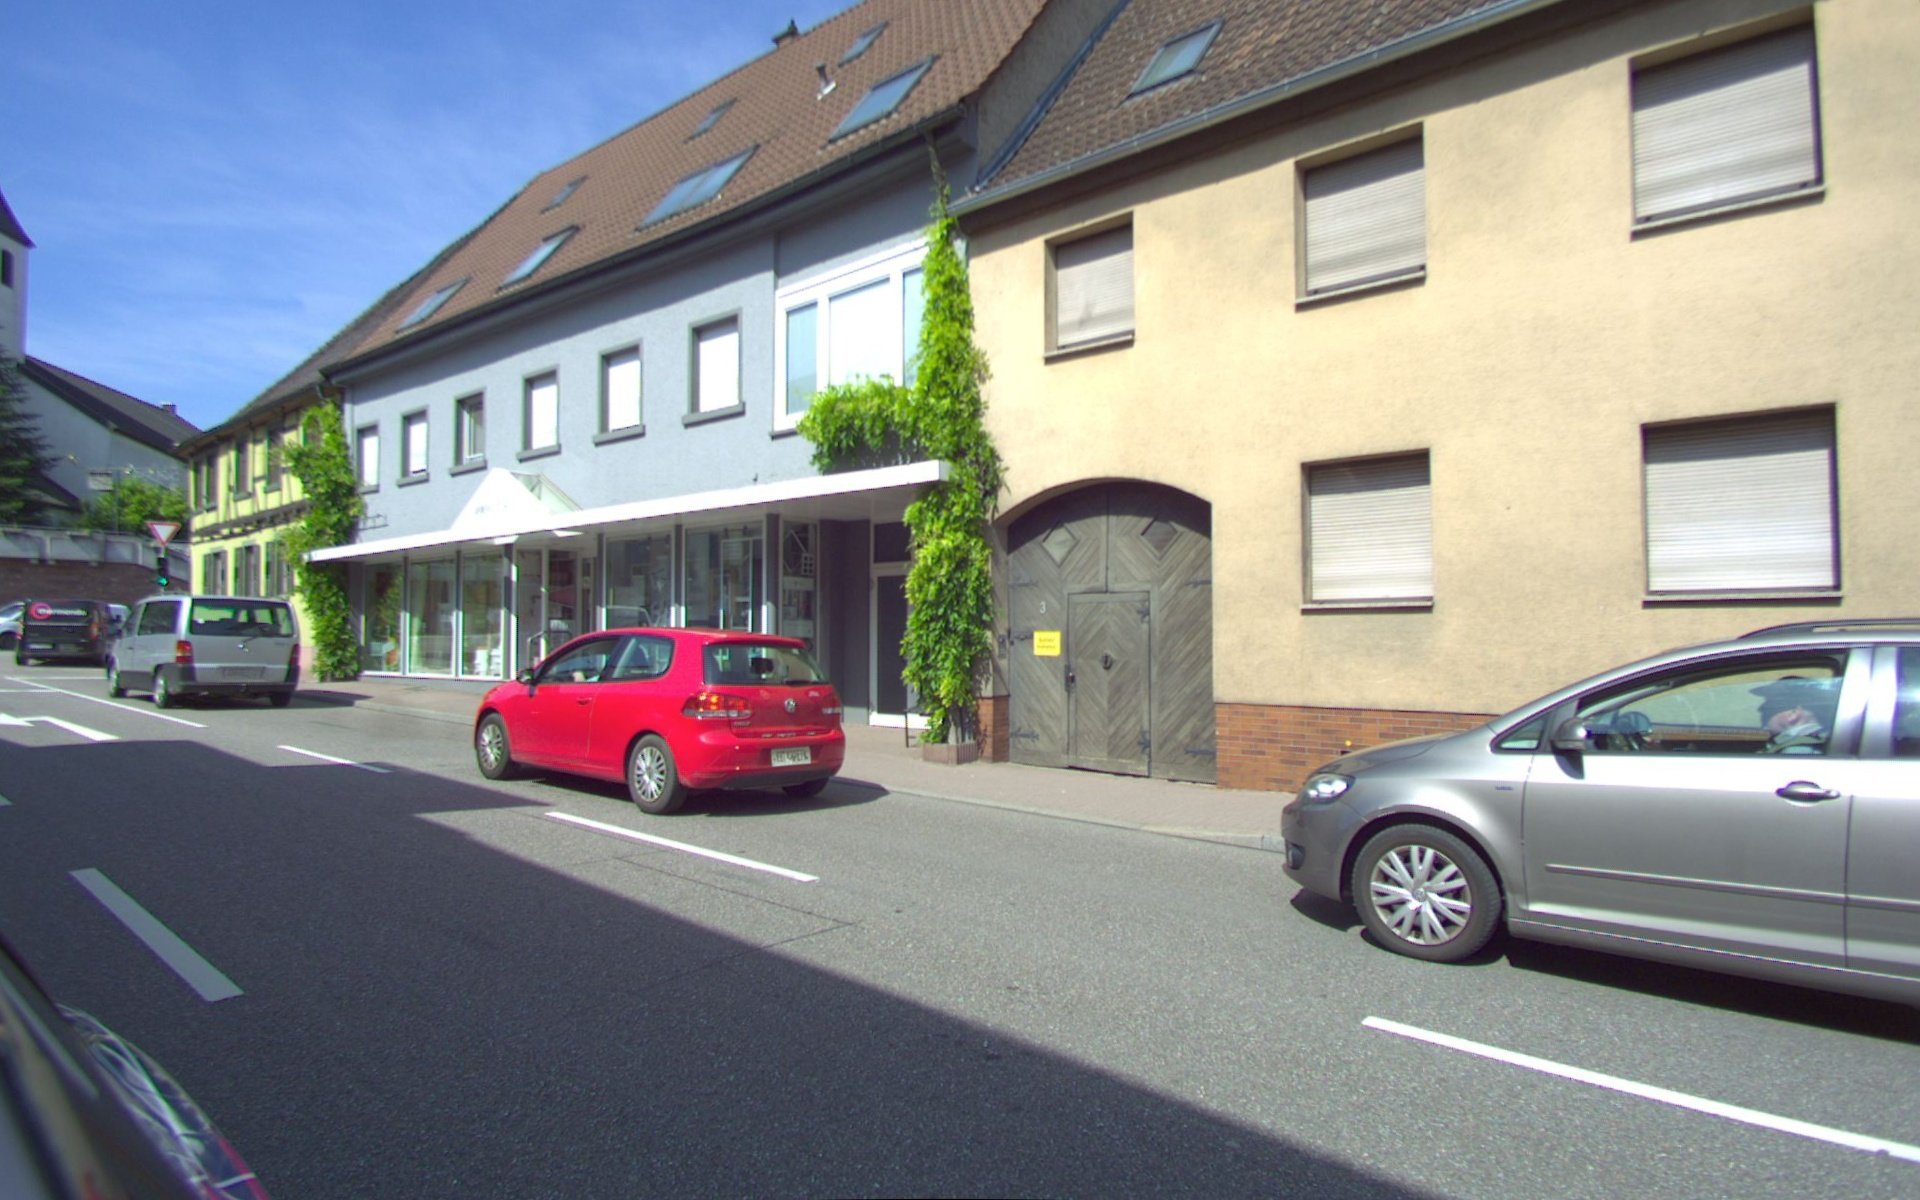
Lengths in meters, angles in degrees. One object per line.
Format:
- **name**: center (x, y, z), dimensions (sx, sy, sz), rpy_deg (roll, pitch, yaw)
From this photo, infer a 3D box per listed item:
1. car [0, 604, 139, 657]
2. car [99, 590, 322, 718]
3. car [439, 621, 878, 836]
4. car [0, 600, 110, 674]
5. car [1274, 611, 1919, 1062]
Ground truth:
- **car**: center (-35.826, 1.212, 39.397), dimensions (2.279, 1.905, 5.550), rpy_deg (0, -3, 22)
- **car**: center (-12.805, 0.890, 17.198), dimensions (4.546, 1.905, 1.865), rpy_deg (-1, -4, 39)
- **car**: center (-2.834, 0.981, 9.123), dimensions (4.071, 1.504, 1.742), rpy_deg (-1, -4, 38)
- **car**: center (-26.650, 1.112, 29.901), dimensions (2.131, 1.938, 5.174), rpy_deg (6, -5, -39)
- **car**: center (3.584, 0.853, 4.270), dimensions (4.016, 1.532, 1.612), rpy_deg (-1, -4, 40)
